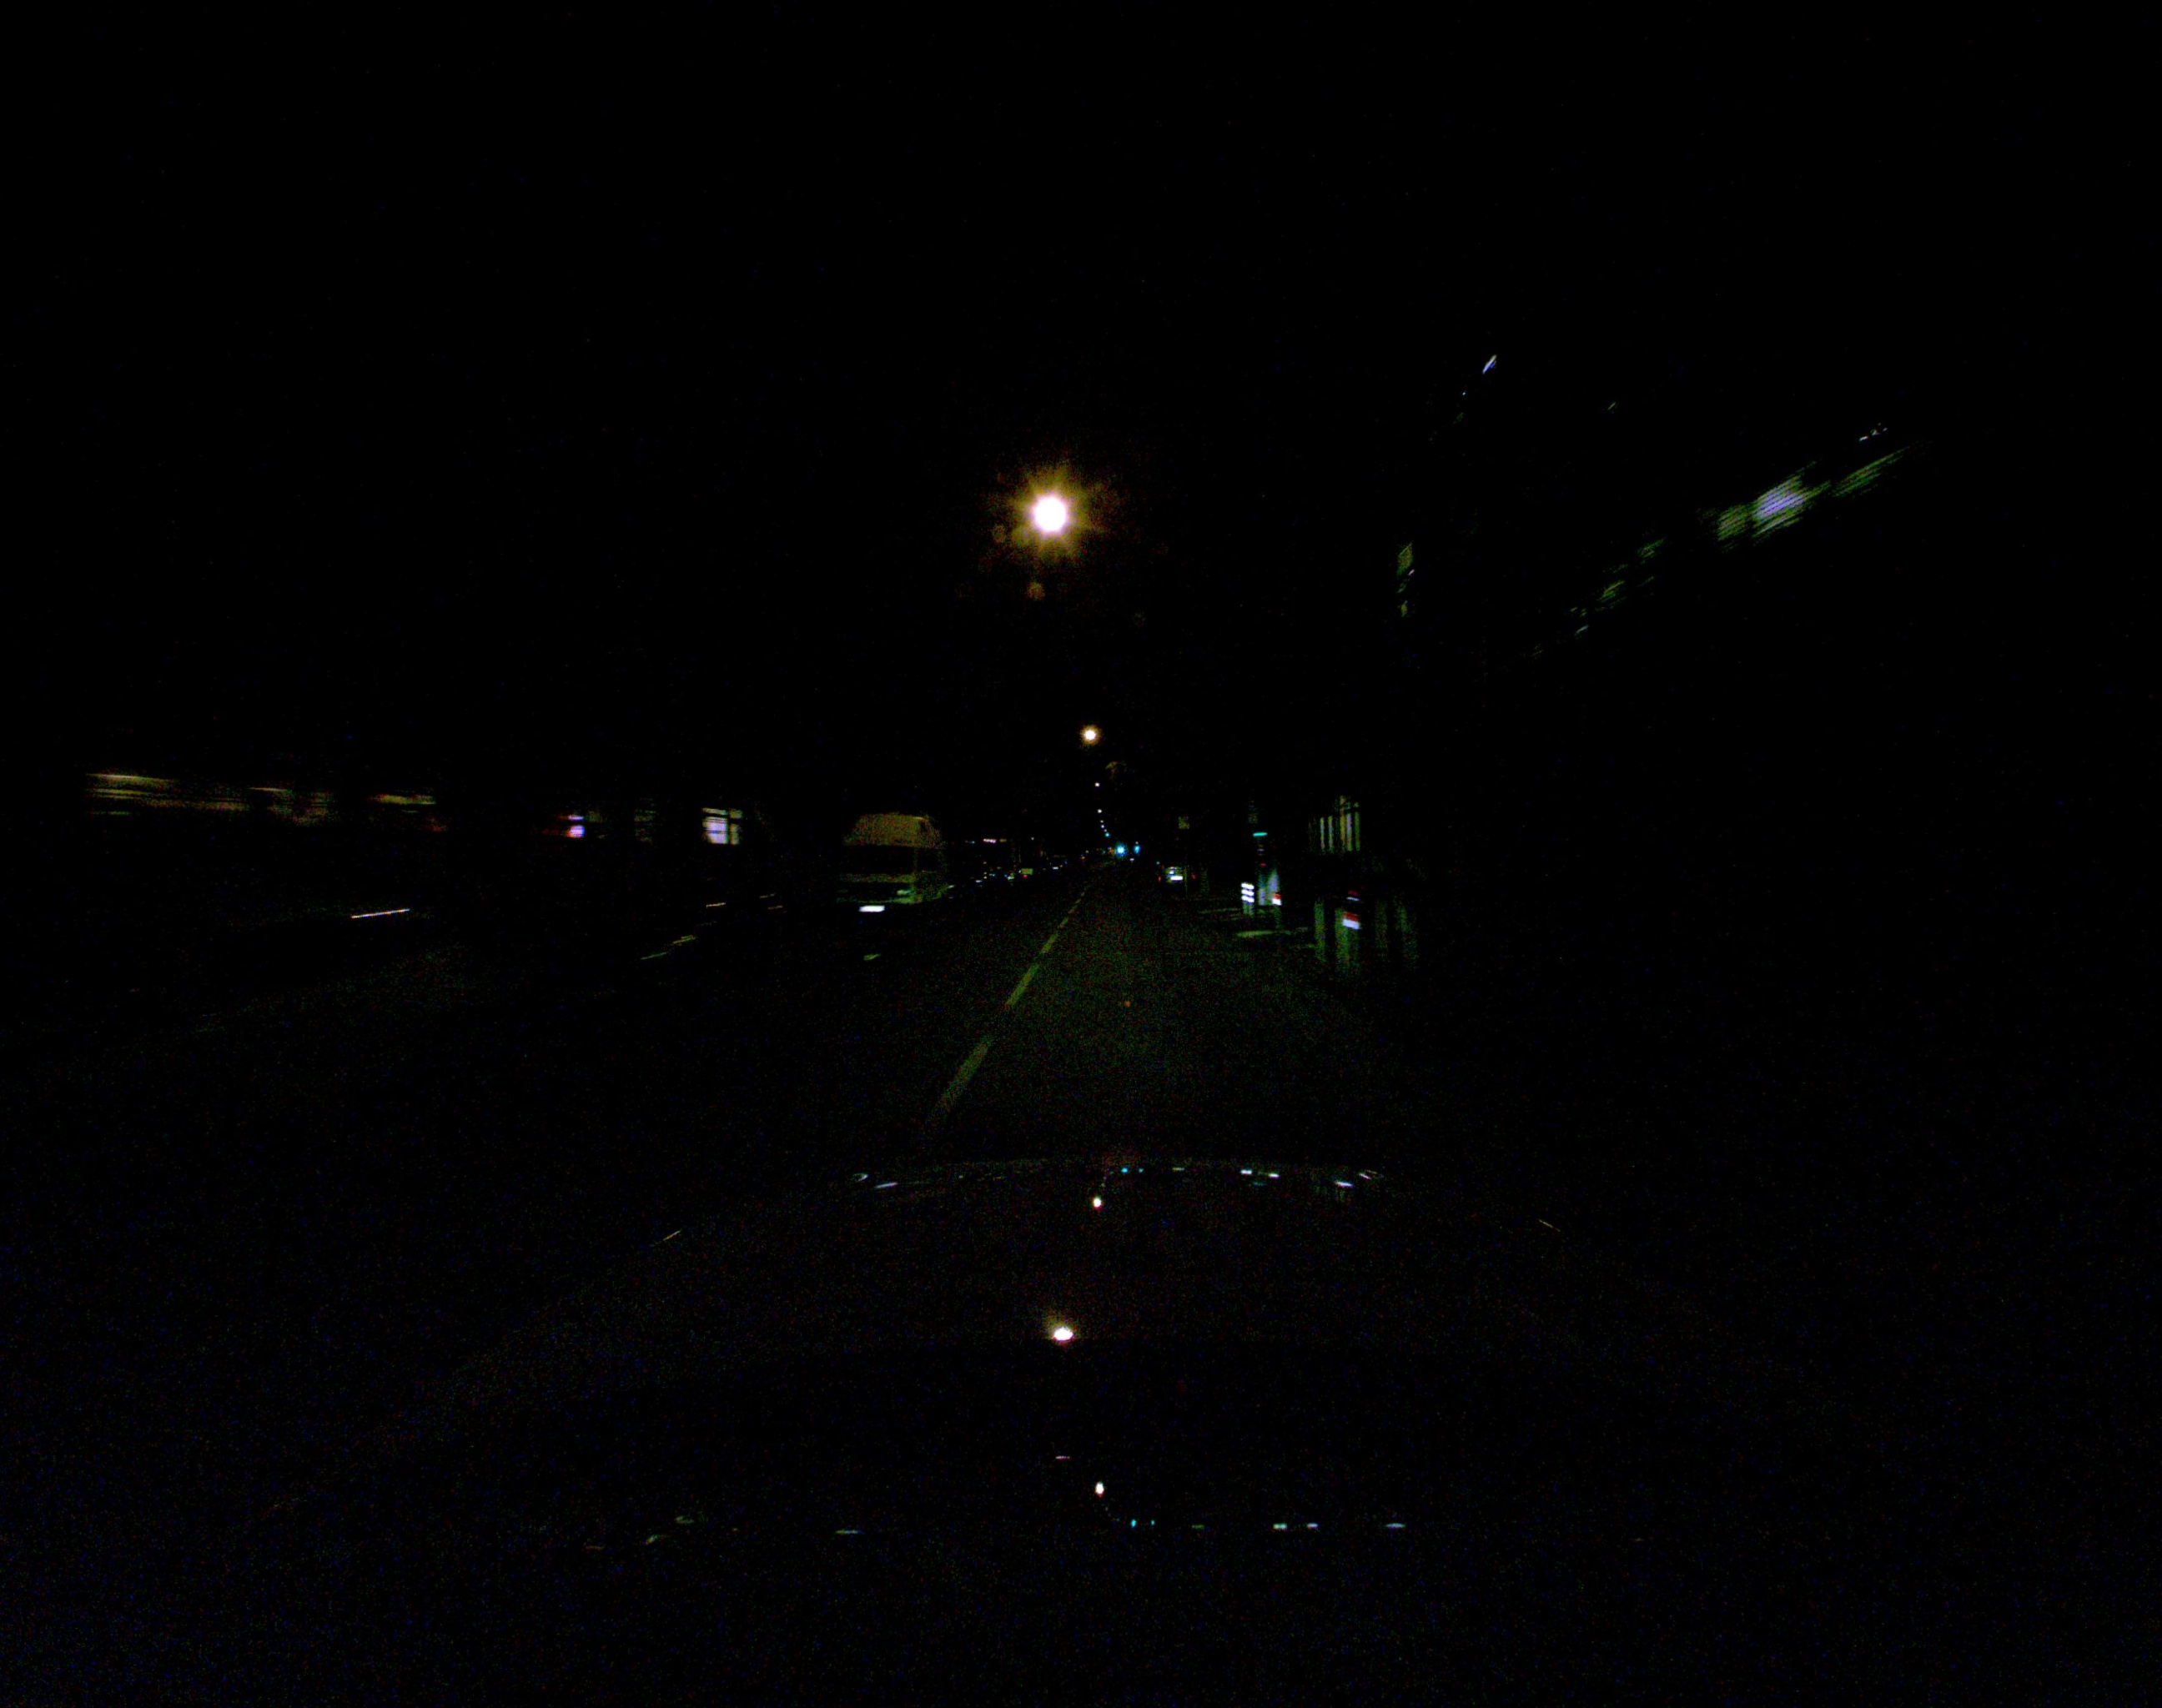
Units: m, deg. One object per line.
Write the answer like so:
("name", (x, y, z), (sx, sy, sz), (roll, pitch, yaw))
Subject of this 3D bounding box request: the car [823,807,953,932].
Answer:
("car", (-4.957, 0.359, 21.716), (2.171, 2.909, 4.911), (-1, 0, 1))

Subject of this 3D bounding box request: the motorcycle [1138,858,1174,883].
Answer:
("motorcycle", (4.060, 0.905, 44.205), (0.930, 1.283, 2.217), (-3, 0, -23))

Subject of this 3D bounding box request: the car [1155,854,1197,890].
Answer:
("car", (4.356, 0.795, 37.953), (1.661, 1.429, 4.152), (-4, 0, 4))

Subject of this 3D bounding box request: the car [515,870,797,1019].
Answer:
("car", (-5.265, 1.020, 10.733), (1.639, 1.504, 3.862), (0, 0, 1))

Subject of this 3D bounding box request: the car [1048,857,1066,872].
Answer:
("car", (-2.577, 1.126, 87.952), (1.693, 1.433, 3.831), (1, 0, 3))

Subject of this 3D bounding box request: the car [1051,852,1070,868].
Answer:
("car", (-2.358, 0.708, 95.526), (1.815, 1.811, 4.213), (1, 0, 3))

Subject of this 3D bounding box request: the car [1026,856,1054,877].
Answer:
("car", (-3.259, 0.980, 66.083), (1.815, 1.599, 4.076), (1, 0, 3))

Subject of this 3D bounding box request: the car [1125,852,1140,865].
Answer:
("car", (6.803, 0.540, 108.408), (1.846, 1.654, 4.212), (-2, 0, 2))

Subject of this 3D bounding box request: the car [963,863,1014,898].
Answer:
("car", (-4.295, 1.189, 38.308), (1.698, 1.411, 4.635), (-2, 0, 1))

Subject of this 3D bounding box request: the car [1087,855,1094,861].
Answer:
("car", (2.564, 0.978, 216.398), (1.734, 1.416, 3.754), (-2, 0, 2))

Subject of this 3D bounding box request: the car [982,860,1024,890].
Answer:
("car", (-4.101, 1.074, 43.314), (1.710, 1.502, 4.206), (0, 0, 1))

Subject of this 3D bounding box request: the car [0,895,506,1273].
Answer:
("car", (-5.382, 1.069, 4.796), (1.542, 1.455, 3.369), (0, 0, 1))

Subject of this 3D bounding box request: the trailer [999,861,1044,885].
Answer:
("trailer", (-3.677, 1.160, 51.183), (2.102, 1.335, 5.439), (0, 0, 3))

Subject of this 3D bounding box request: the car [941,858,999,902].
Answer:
("car", (-4.386, 1.005, 32.770), (1.736, 1.606, 4.297), (-1, 0, 0))

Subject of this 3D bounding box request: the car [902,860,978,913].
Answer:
("car", (-4.643, 1.033, 27.409), (1.735, 1.606, 4.117), (-1, 0, 1))

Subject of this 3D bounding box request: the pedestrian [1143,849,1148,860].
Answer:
("pedestrian", (10.326, 0.151, 130.473), (0.702, 1.721, 0.822), (-4, 0, 2))
